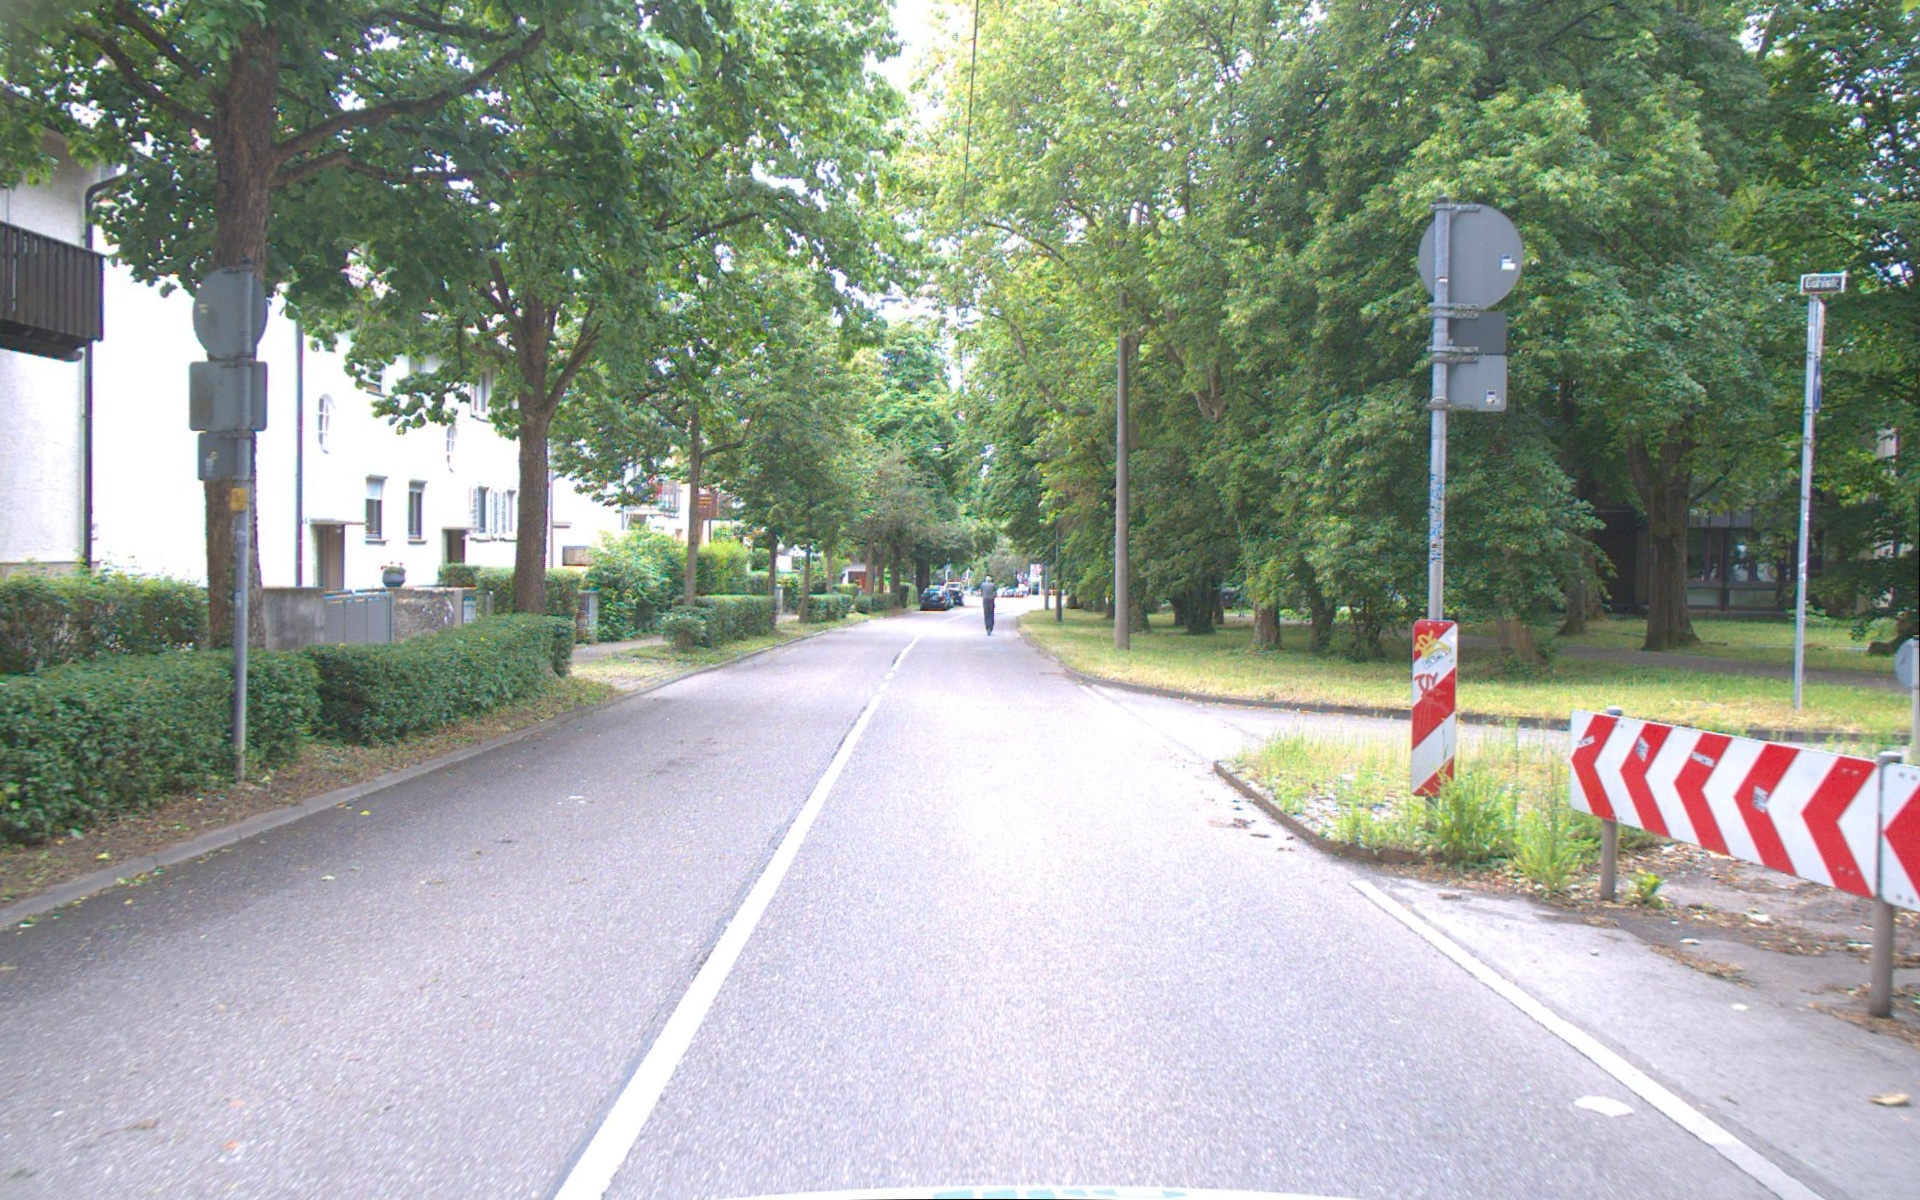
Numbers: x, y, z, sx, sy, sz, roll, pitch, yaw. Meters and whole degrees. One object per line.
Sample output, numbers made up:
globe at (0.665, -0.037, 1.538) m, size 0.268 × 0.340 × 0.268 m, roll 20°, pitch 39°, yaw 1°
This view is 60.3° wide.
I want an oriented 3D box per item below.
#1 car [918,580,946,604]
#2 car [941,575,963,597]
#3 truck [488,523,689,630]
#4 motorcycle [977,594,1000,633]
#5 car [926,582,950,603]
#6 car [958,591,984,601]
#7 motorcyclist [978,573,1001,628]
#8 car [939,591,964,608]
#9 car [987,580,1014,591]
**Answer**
car at (-1.835, -0.525, 109.216) m, size 1.757 × 1.498 × 4.418 m, roll 0°, pitch 0°, yaw 0°
car at (-0.713, -1.268, 151.157) m, size 1.820 × 1.998 × 4.502 m, roll 0°, pitch 0°, yaw -3°
truck at (-11.553, -0.731, 51.810) m, size 5.678 × 3.185 × 2.518 m, roll 1°, pitch 0°, yaw -1°
motorcycle at (0.933, 0.449, 54.097) m, size 0.658 × 1.238 × 1.274 m, roll 2°, pitch 0°, yaw 4°
car at (-1.507, -0.530, 114.406) m, size 1.630 × 1.416 × 3.707 m, roll 0°, pitch 0°, yaw 0°
car at (1.613, -0.598, 248.867) m, size 3.905 × 1.537 × 1.800 m, roll 0°, pitch 0°, yaw 0°
motorcyclist at (0.963, 0.007, 54.335) m, size 0.658 × 1.792 × 0.639 m, roll 2°, pitch 0°, yaw 4°
car at (-0.738, -0.023, 140.393) m, size 1.852 × 1.435 × 4.555 m, roll 0°, pitch 0°, yaw 3°
car at (5.721, -2.042, 233.896) m, size 3.905 × 1.537 × 1.800 m, roll 0°, pitch 0°, yaw 0°
